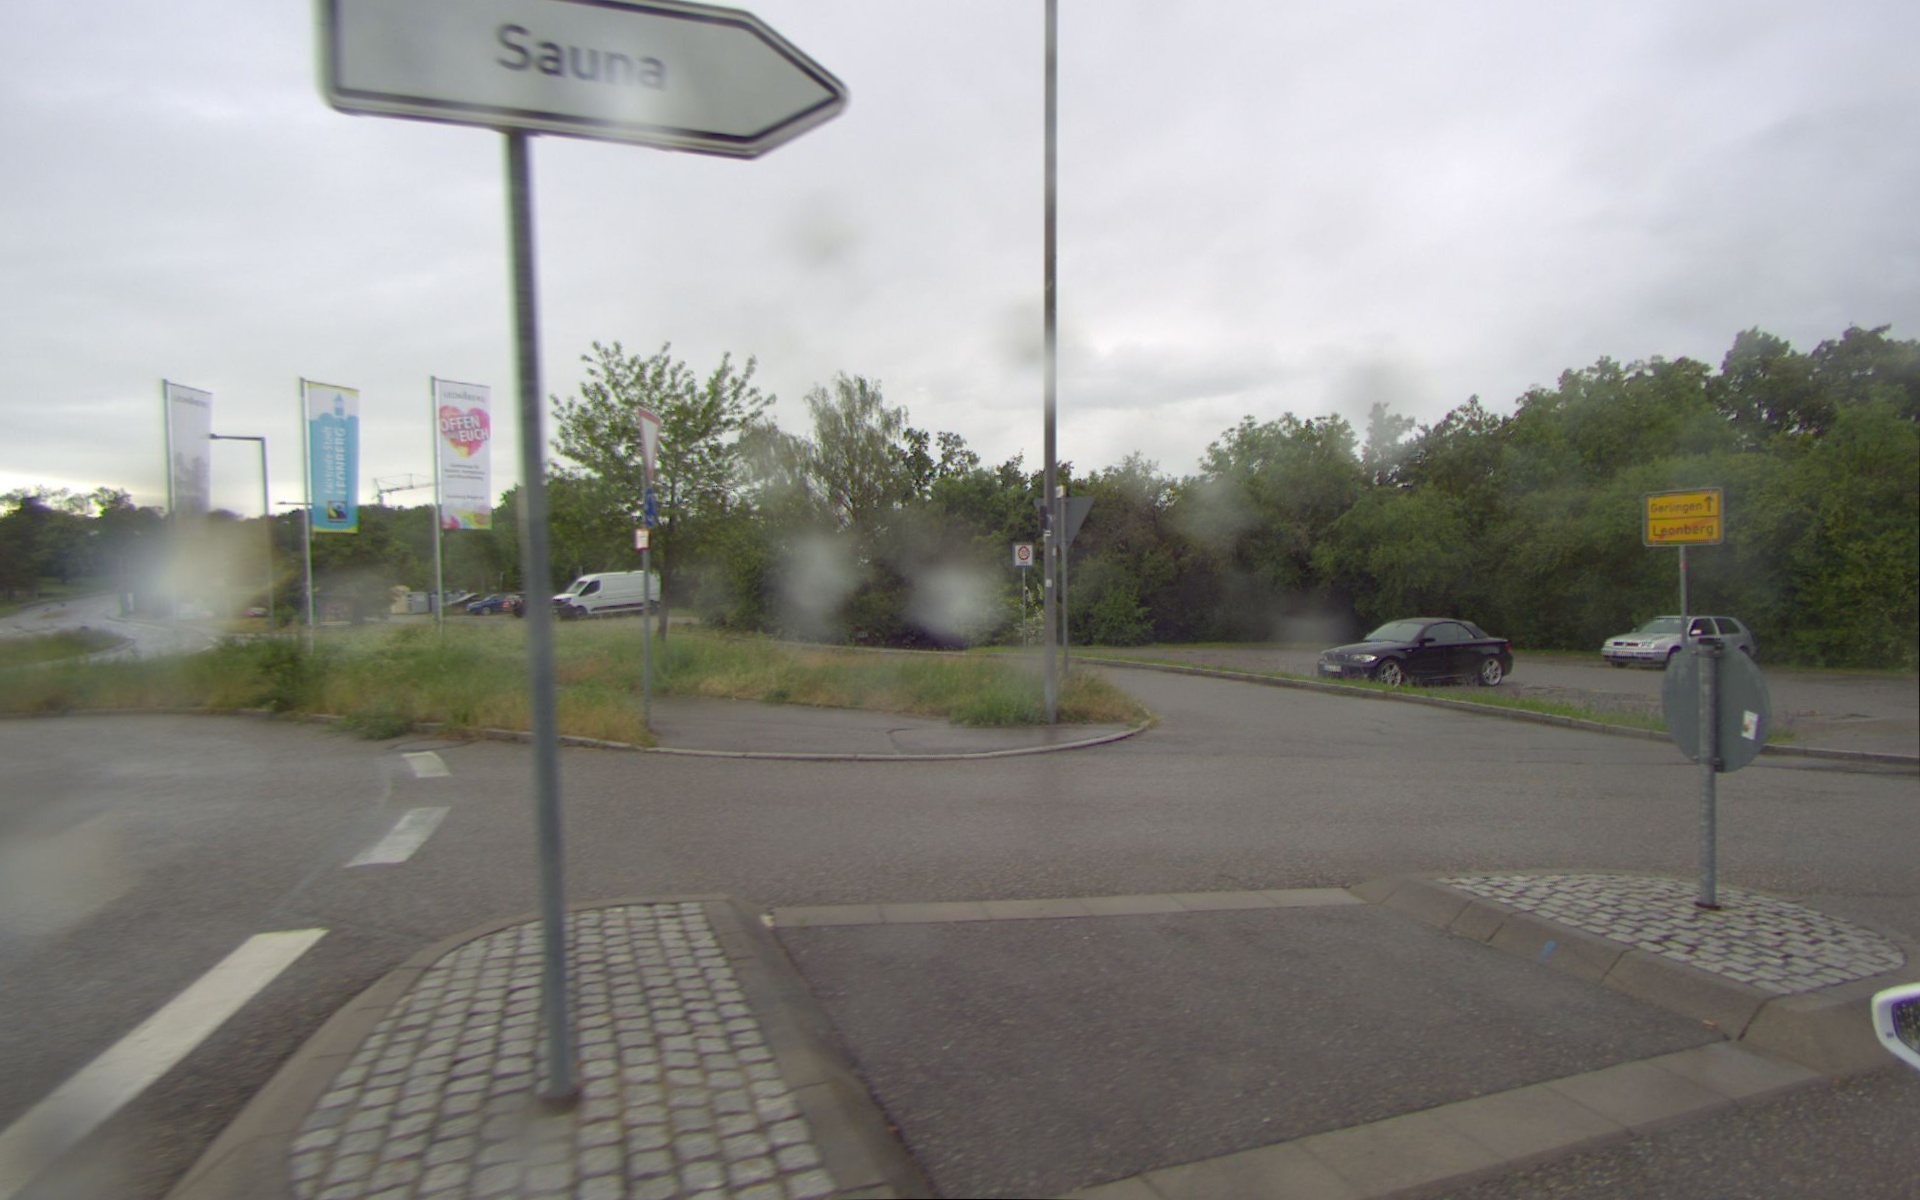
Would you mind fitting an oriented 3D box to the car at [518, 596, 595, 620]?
[{"bbox_3d":[-24.207,0.472,60.322,3.965,1.382,1.634,-1,0,-39],"label":"car"}]

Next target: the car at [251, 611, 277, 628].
[{"bbox_3d":[-74.760,2.094,107.839,1.683,1.589,4.488,-7,3,-41],"label":"car"}]

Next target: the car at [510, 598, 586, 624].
[{"bbox_3d":[-25.453,0.657,62.144,3.965,1.382,1.827,-3,1,-39],"label":"car"}]

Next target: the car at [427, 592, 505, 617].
[{"bbox_3d":[-35.777,0.336,72.789,4.684,1.716,1.981,-1,0,-41],"label":"car"}]

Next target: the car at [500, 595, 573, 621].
[{"bbox_3d":[-27.456,0.480,65.202,3.967,1.489,1.826,-3,1,-40],"label":"car"}]

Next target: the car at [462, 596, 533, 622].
[{"bbox_3d":[-31.320,0.601,68.041,3.964,1.382,1.879,-6,3,-38],"label":"car"}]

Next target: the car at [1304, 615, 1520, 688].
[{"bbox_3d":[9.339,1.059,20.767,4.127,1.373,1.618,2,-1,-21],"label":"car"}]

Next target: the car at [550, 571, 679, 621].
[{"bbox_3d":[-19.524,-0.270,57.048,6.529,2.430,2.111,-5,4,-43],"label":"car"}]

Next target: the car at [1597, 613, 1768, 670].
[{"bbox_3d":[19.256,1.096,26.784,4.057,1.373,1.601,2,-1,-18],"label":"car"}]
